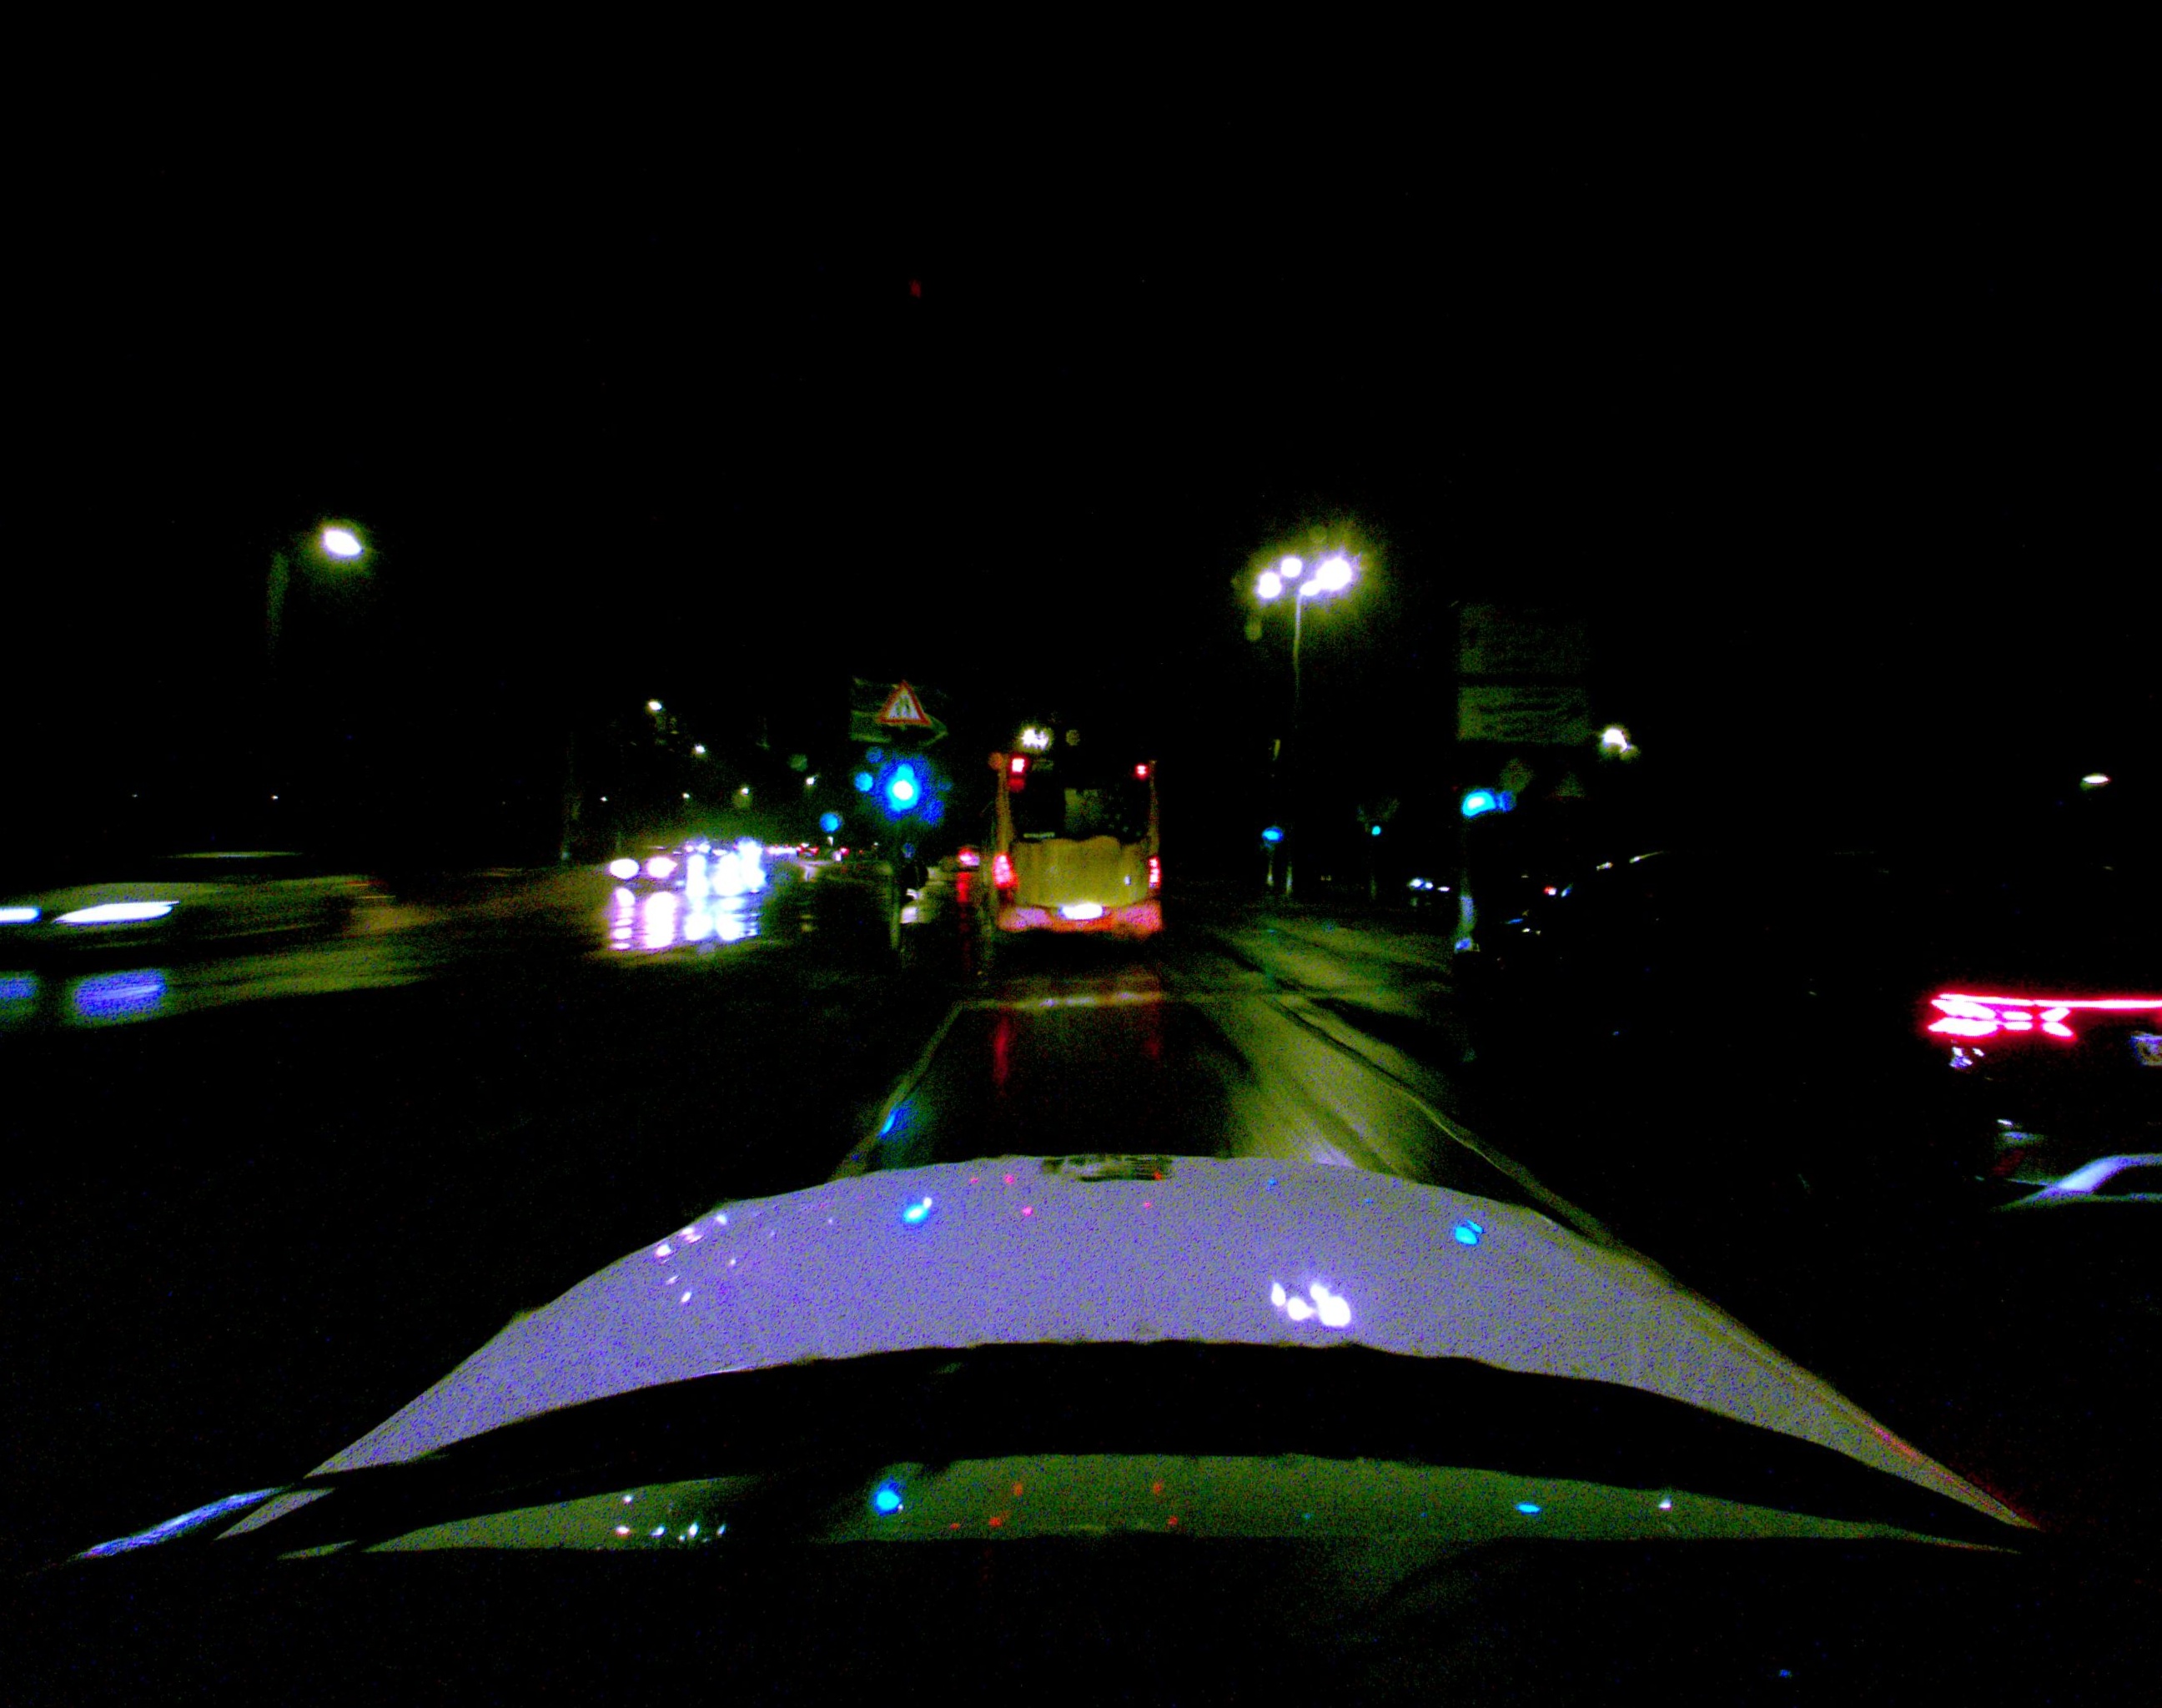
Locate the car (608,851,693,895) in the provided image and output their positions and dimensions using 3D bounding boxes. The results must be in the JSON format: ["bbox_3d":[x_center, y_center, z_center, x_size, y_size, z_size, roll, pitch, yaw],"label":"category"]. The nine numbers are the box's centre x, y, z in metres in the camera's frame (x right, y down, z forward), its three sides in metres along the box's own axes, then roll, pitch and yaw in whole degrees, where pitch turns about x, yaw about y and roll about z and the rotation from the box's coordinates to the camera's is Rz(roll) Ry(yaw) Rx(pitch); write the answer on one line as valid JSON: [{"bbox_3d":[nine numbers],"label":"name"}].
[{"bbox_3d":[-15.954,0.699,30.422,1.793,1.457,4.553,-1,-1,-15],"label":"car"}]

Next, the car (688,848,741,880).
[{"bbox_3d":[-18.569,0.512,41.477,1.783,1.460,4.452,3,-1,-16],"label":"car"}]

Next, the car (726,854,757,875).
[{"bbox_3d":[-23.750,0.728,57.110,1.813,1.353,4.113,1,-1,-21],"label":"car"}]

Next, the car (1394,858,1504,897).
[{"bbox_3d":[16.654,1.055,37.027,4.151,1.519,1.856,2,1,-1],"label":"car"}]

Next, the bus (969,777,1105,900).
[{"bbox_3d":[-1.727,-0.475,25.841,3.247,3.120,8.617,3,1,-10],"label":"bus"}]

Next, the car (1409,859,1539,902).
[{"bbox_3d":[16.096,1.081,33.512,4.469,1.519,1.856,2,1,-1],"label":"car"}]

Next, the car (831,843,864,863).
[{"bbox_3d":[-19.473,-0.071,67.864,1.826,1.618,3.964,3,-1,-28],"label":"car"}]

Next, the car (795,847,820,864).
[{"bbox_3d":[-27.444,0.126,81.637,1.825,1.618,3.967,2,-1,-25],"label":"car"}]

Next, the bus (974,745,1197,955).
[{"bbox_3d":[-0.378,-0.241,16.759,3.281,3.049,9.526,-1,2,-6],"label":"bus"}]

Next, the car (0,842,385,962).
[{"bbox_3d":[-13.212,0.579,12.340,1.788,1.456,4.566,-1,0,-7],"label":"car"}]

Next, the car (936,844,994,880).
[{"bbox_3d":[-6.924,0.479,48.189,2.005,2.014,4.308,3,-1,-28],"label":"car"}]

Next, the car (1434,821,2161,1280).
[{"bbox_3d":[3.812,0.715,4.740,1.673,1.522,3.956,2,-1,-2],"label":"car"}]

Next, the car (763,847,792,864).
[{"bbox_3d":[-33.501,0.152,89.922,2.103,1.644,3.691,6,-2,-33],"label":"car"}]

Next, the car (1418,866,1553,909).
[{"bbox_3d":[14.579,1.198,29.504,4.030,1.345,1.747,2,1,-1],"label":"car"}]
